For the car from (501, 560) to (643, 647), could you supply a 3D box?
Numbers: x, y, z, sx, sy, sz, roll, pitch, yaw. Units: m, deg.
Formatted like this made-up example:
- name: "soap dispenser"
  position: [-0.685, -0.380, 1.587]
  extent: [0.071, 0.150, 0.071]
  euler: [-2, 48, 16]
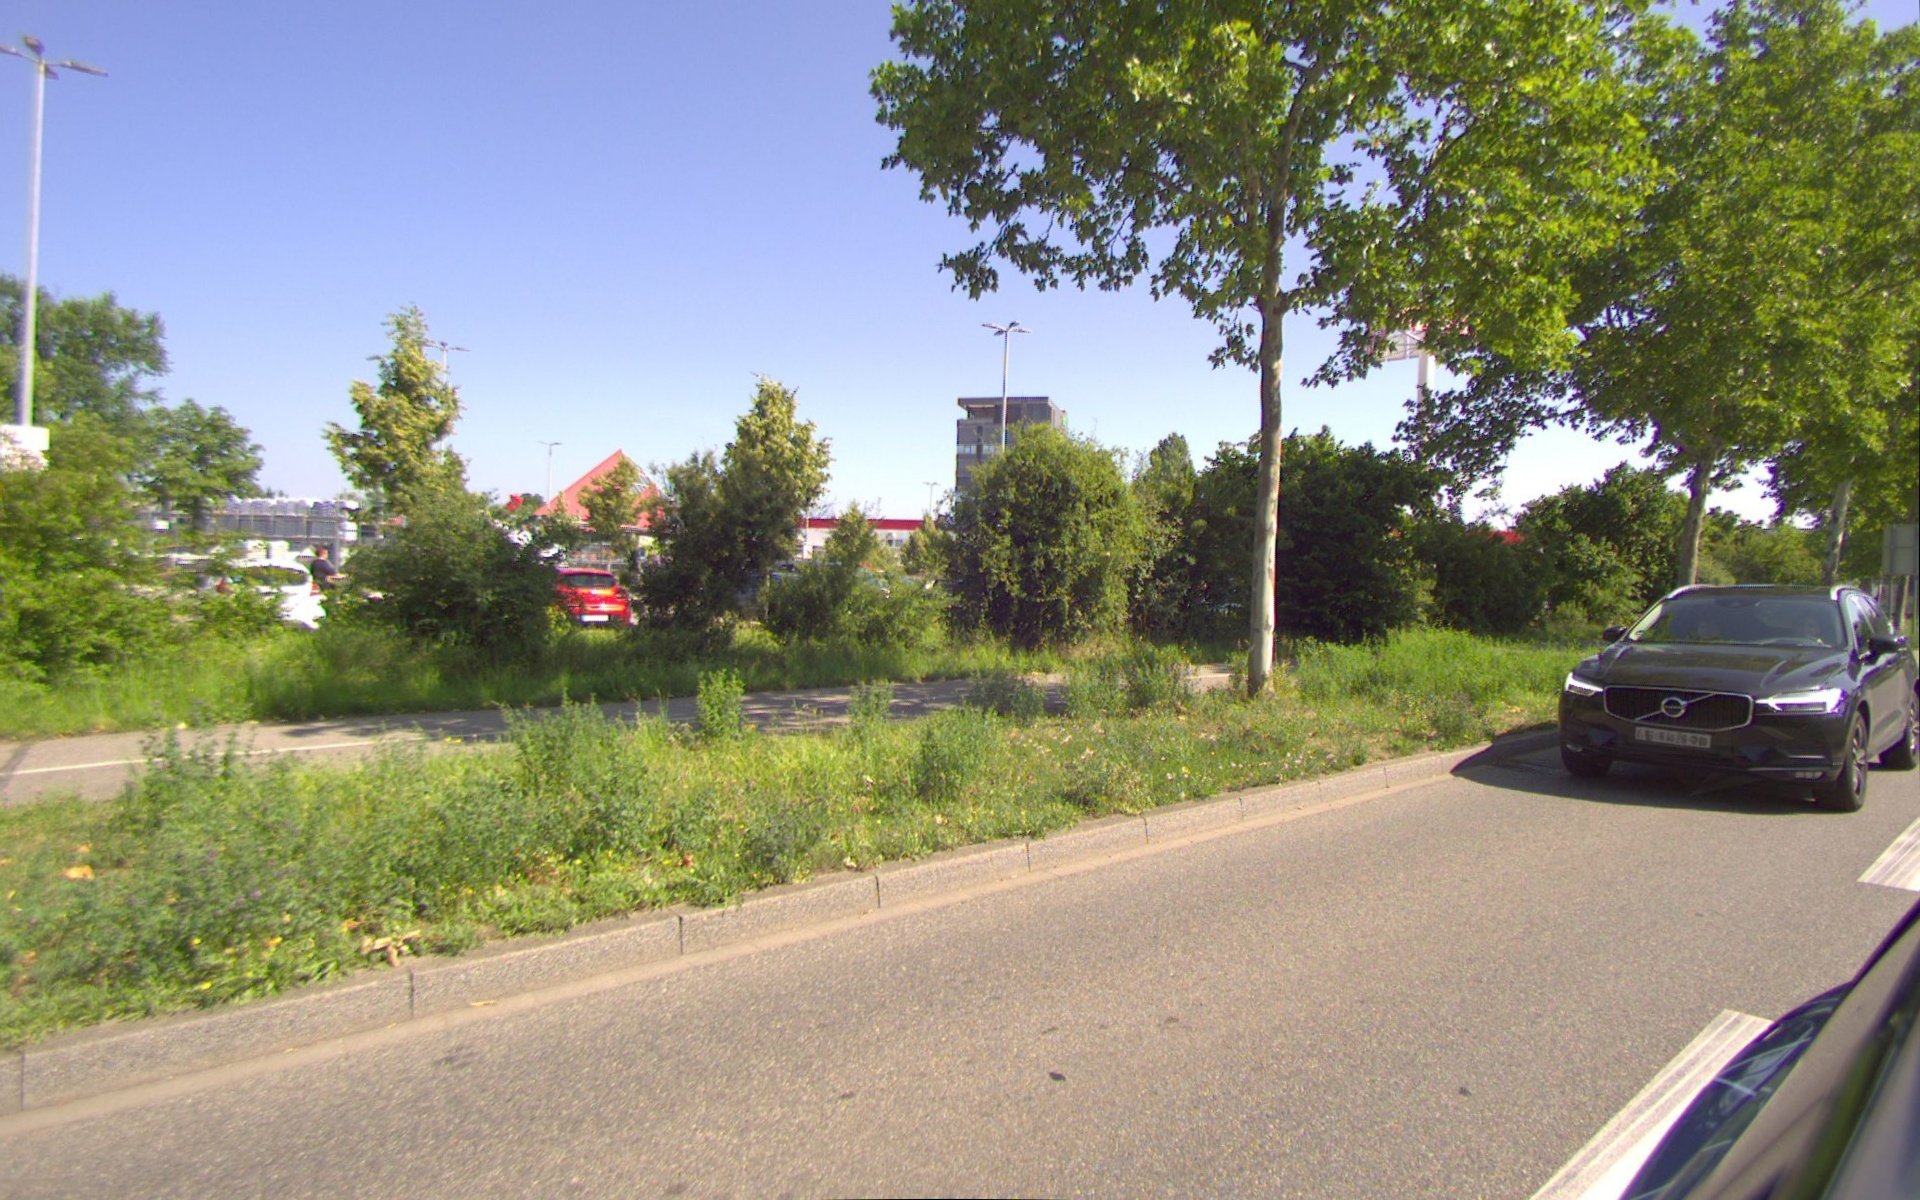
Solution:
- name: "car"
  position: [-8.358, 0.032, 21.624]
  extent: [1.658, 1.691, 3.828]
  euler: [0, 1, -41]

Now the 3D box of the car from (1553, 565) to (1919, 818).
- name: "car"
  position: [7.014, 0.566, 8.791]
  extent: [4.486, 1.643, 1.922]
  euler: [0, 1, -41]

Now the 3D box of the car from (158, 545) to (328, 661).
- name: "car"
  position: [-12.572, 0.019, 17.658]
  extent: [3.987, 1.794, 1.725]
  euler: [1, 1, 44]
